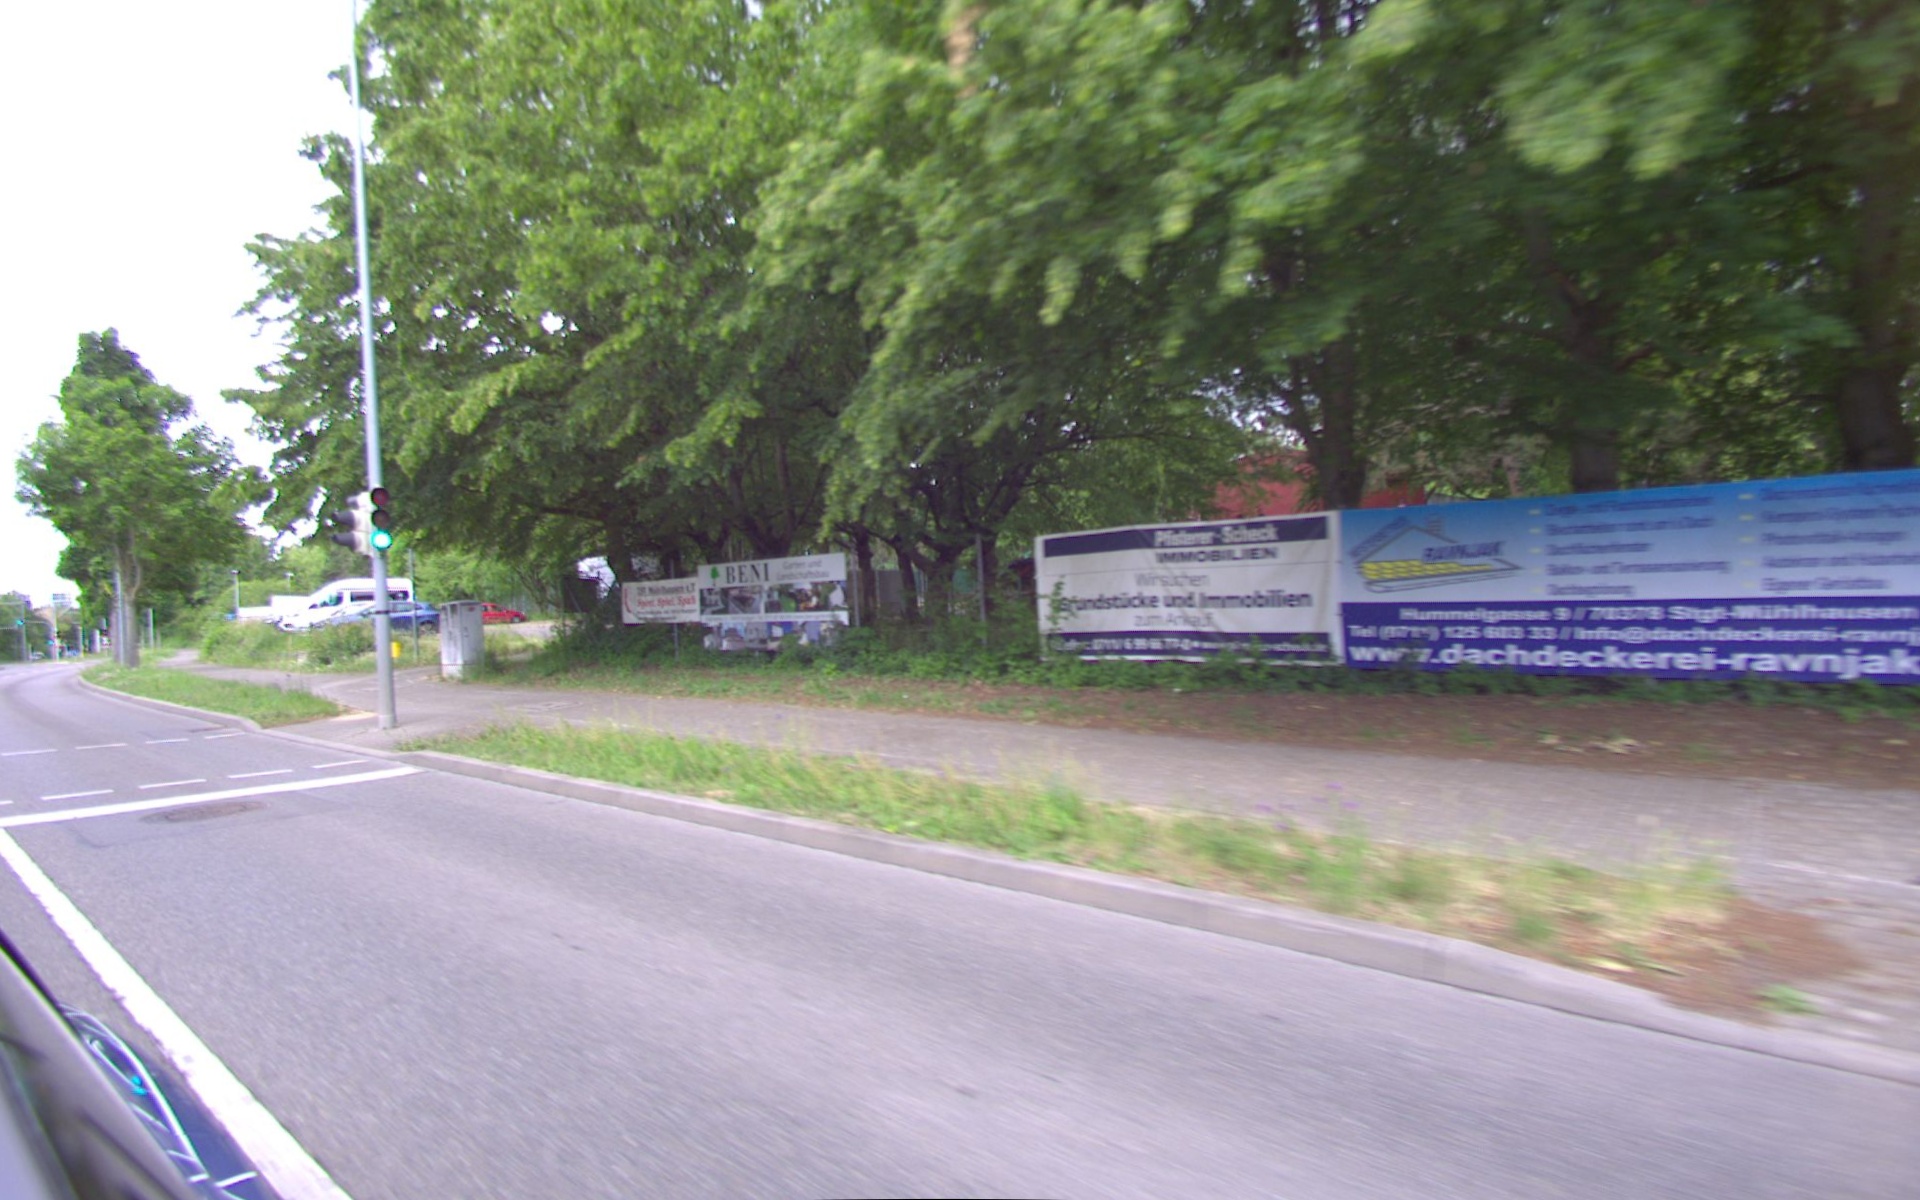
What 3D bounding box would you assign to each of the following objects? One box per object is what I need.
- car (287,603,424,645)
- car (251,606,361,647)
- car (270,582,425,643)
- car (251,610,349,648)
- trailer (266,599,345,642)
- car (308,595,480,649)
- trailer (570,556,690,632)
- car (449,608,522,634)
[{"bbox_3d":[-23.301,0.910,39.110,4.324,1.326,1.565,-4,-1,-41],"label":"car"},{"bbox_3d":[-29.332,1.183,45.429,3.982,1.559,2.005,-4,-1,-36],"label":"car"},{"bbox_3d":[-25.161,0.496,41.683,5.093,2.122,2.218,-4,-1,-41],"label":"car"},{"bbox_3d":[-33.153,1.444,50.840,3.982,1.596,2.005,-4,-1,-36],"label":"car"},{"bbox_3d":[-34.319,1.058,53.079,3.321,2.074,1.682,-2,-1,-36],"label":"trailer"},{"bbox_3d":[-20.422,0.766,36.660,5.093,1.573,1.888,-4,-1,-41],"label":"car"},{"bbox_3d":[-15.127,-0.213,46.034,2.615,3.097,7.208,-4,1,-39],"label":"trailer"},{"bbox_3d":[-31.911,1.385,68.090,4.047,1.428,1.906,-4,-1,-36],"label":"car"}]
